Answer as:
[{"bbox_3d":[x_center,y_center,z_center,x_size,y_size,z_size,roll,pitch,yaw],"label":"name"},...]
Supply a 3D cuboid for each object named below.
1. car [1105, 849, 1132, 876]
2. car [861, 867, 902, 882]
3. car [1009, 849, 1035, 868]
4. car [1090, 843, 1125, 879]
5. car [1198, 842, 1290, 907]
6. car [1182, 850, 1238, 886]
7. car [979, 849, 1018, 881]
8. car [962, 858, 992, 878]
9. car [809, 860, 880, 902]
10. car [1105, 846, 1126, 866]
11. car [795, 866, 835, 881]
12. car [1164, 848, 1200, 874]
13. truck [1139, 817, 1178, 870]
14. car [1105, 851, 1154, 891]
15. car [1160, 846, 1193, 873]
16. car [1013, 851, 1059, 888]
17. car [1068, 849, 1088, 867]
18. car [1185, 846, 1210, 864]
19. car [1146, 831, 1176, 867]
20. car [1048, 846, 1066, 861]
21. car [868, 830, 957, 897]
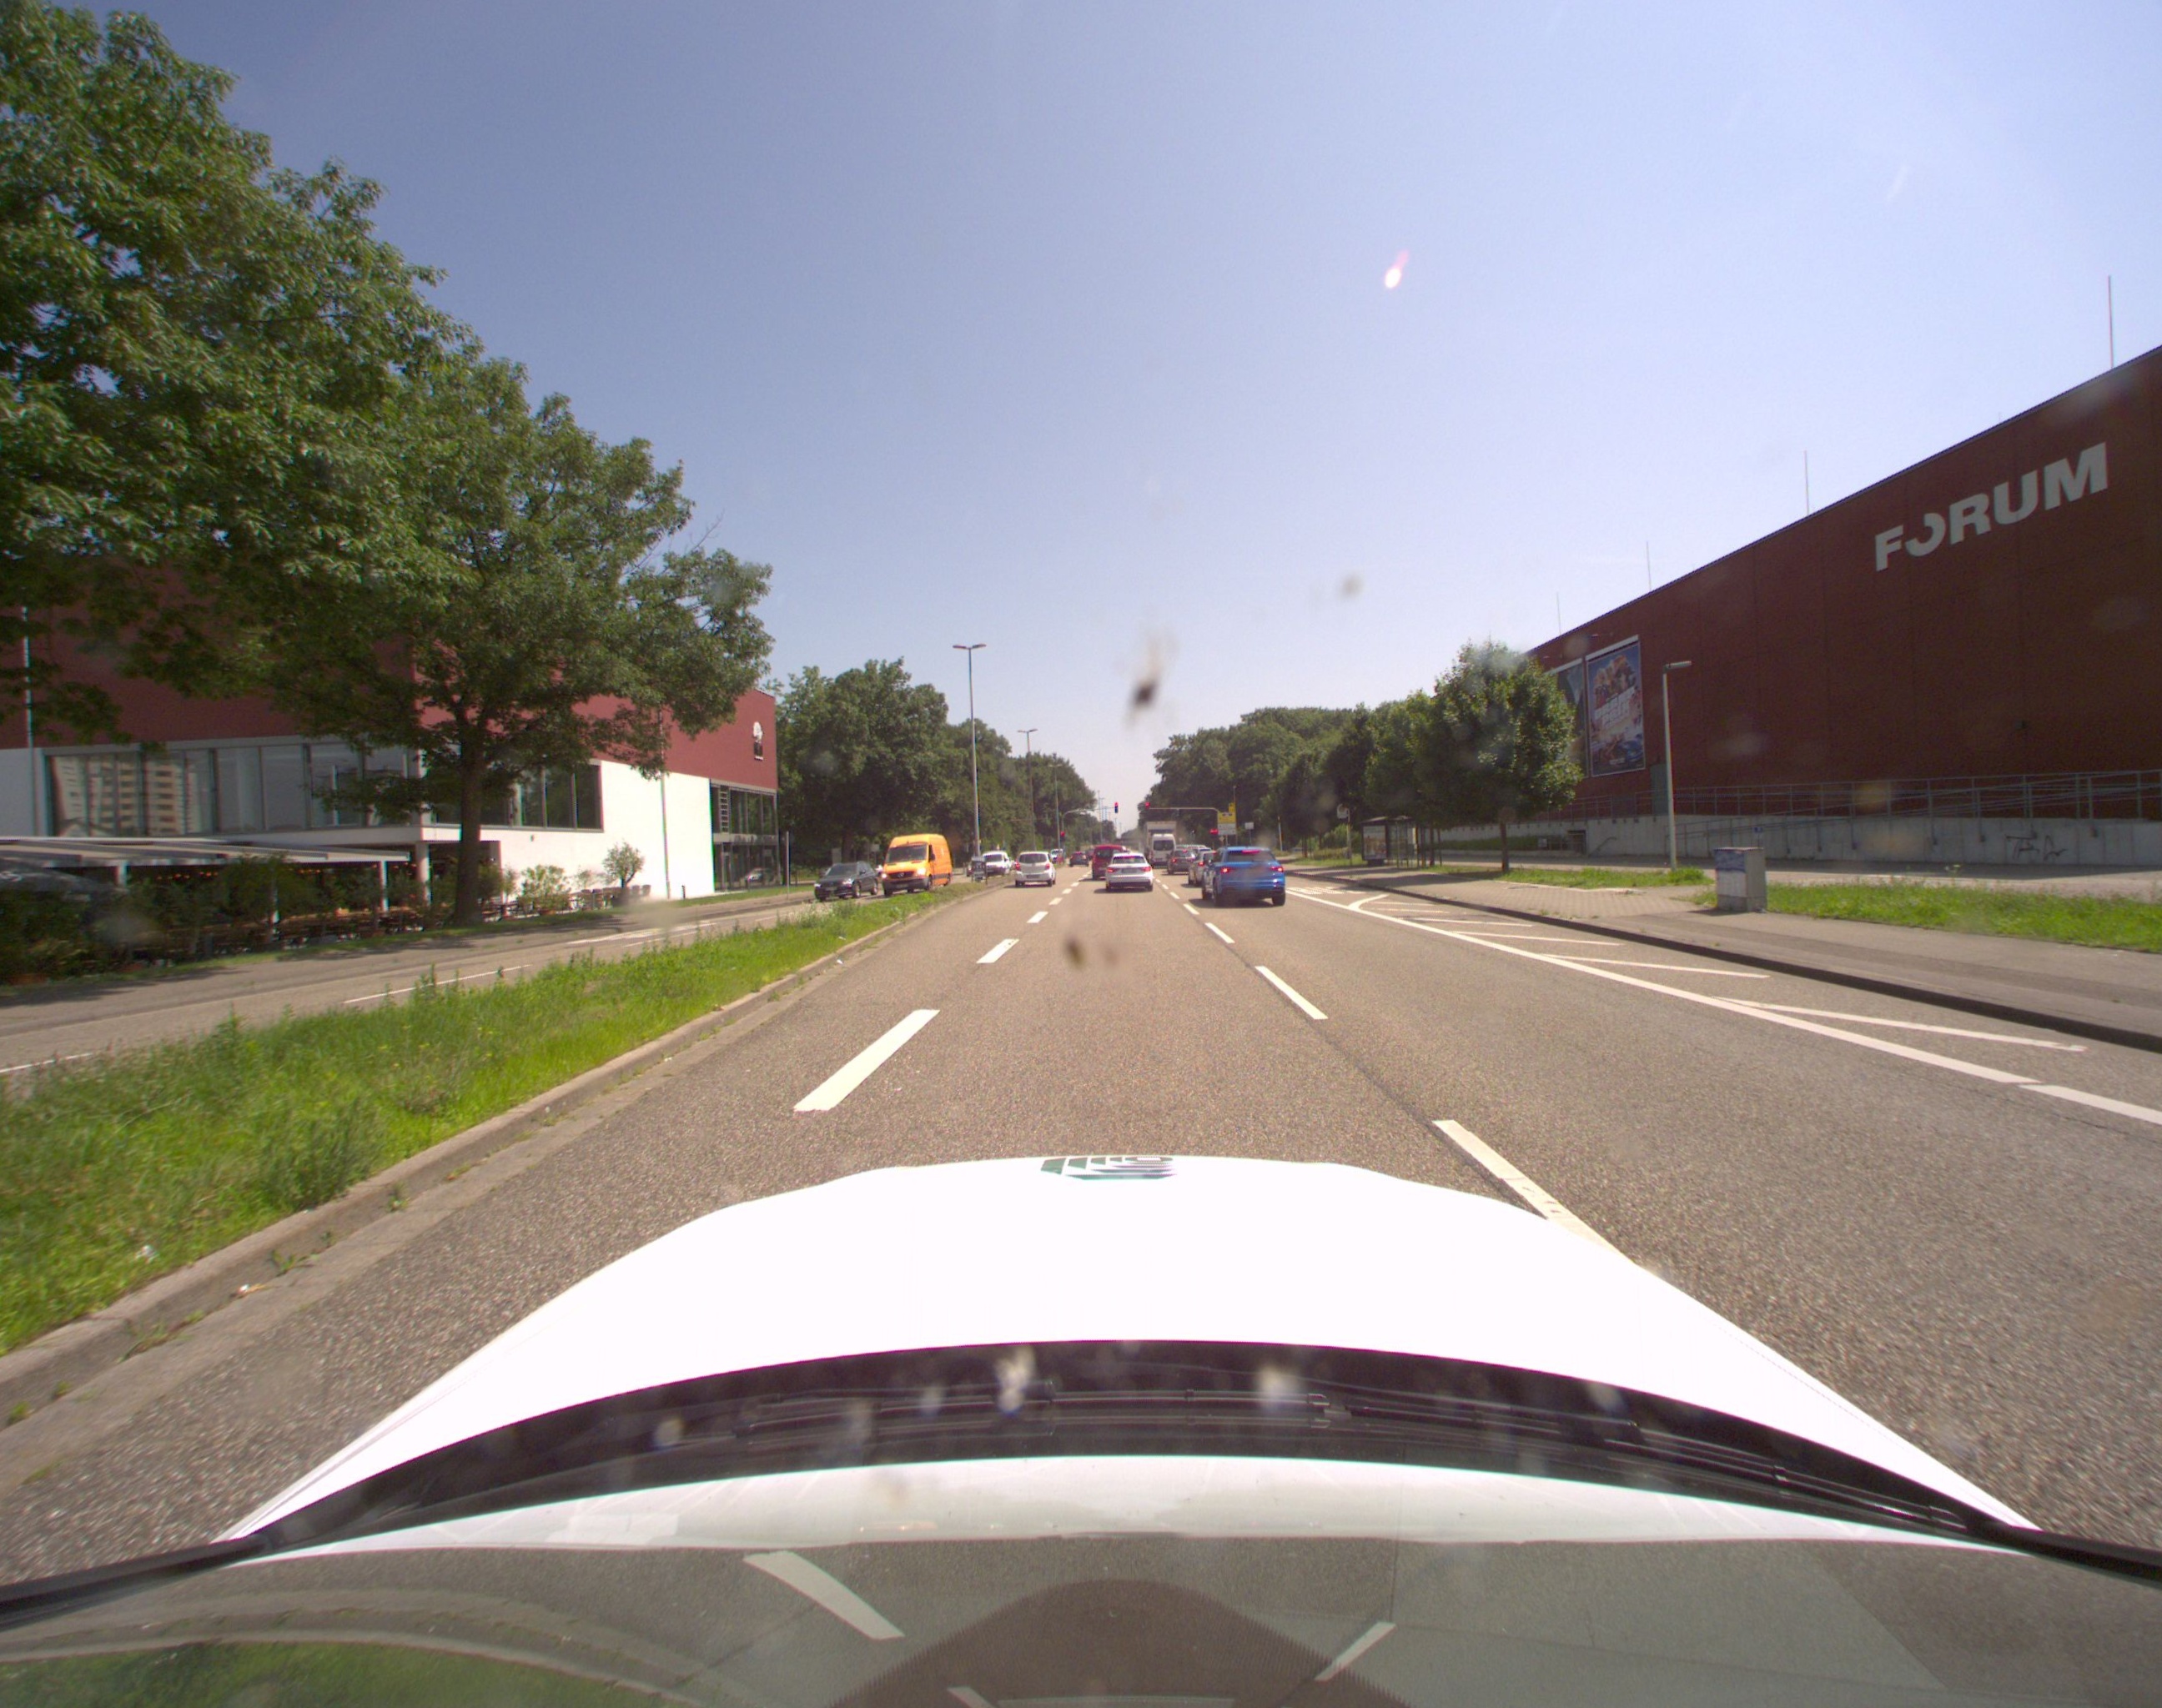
[{"bbox_3d":[2.458,0.547,53.894,1.705,1.631,4.093,-2,0,1],"label":"car"},{"bbox_3d":[-23.239,2.379,94.779,4.364,1.681,1.807,-1,-1,-5],"label":"car"},{"bbox_3d":[-5.321,0.384,74.350,1.742,1.569,4.156,-5,0,2],"label":"car"},{"bbox_3d":[1.358,0.353,42.424,1.705,1.748,4.093,-2,0,1],"label":"car"},{"bbox_3d":[4.440,0.512,22.806,1.830,1.596,4.402,-2,0,2],"label":"car"},{"bbox_3d":[5.208,0.514,33.294,1.705,1.362,4.093,-1,0,1],"label":"car"},{"bbox_3d":[-5.532,0.694,54.970,1.845,1.905,4.428,-5,0,2],"label":"car"},{"bbox_3d":[-8.953,1.184,70.299,1.742,1.451,4.136,-5,0,2],"label":"car"},{"bbox_3d":[-10.666,1.171,37.100,1.709,1.603,4.216,-5,0,2],"label":"car"},{"bbox_3d":[2.911,0.142,70.138,1.705,1.631,4.093,-2,0,1],"label":"car"},{"bbox_3d":[-32.083,2.334,98.274,4.368,1.681,1.805,-1,-1,-9],"label":"car"},{"bbox_3d":[5.888,0.384,48.012,1.705,1.478,4.093,1,0,1],"label":"car"},{"bbox_3d":[7.003,-0.950,75.120,3.075,4.433,11.589,-1,0,3],"label":"truck"},{"bbox_3d":[1.783,0.598,30.920,1.705,1.386,4.093,-2,0,1],"label":"car"},{"bbox_3d":[6.166,0.342,52.953,1.705,1.593,4.093,-2,0,1],"label":"car"},{"bbox_3d":[-1.968,0.658,36.720,1.705,1.492,4.093,-2,0,1],"label":"car"},{"bbox_3d":[-0.298,0.394,78.776,1.768,1.641,4.038,-2,0,1],"label":"car"},{"bbox_3d":[10.327,0.081,72.337,1.705,1.546,4.093,-2,0,1],"label":"car"},{"bbox_3d":[6.212,-0.365,63.857,2.023,2.644,4.848,-2,0,2],"label":"car"},{"bbox_3d":[-3.356,-0.125,114.097,1.986,1.945,4.910,-5,0,2],"label":"car"},{"bbox_3d":[-7.335,0.377,36.236,2.256,2.567,6.061,-4,0,2],"label":"car"}]
